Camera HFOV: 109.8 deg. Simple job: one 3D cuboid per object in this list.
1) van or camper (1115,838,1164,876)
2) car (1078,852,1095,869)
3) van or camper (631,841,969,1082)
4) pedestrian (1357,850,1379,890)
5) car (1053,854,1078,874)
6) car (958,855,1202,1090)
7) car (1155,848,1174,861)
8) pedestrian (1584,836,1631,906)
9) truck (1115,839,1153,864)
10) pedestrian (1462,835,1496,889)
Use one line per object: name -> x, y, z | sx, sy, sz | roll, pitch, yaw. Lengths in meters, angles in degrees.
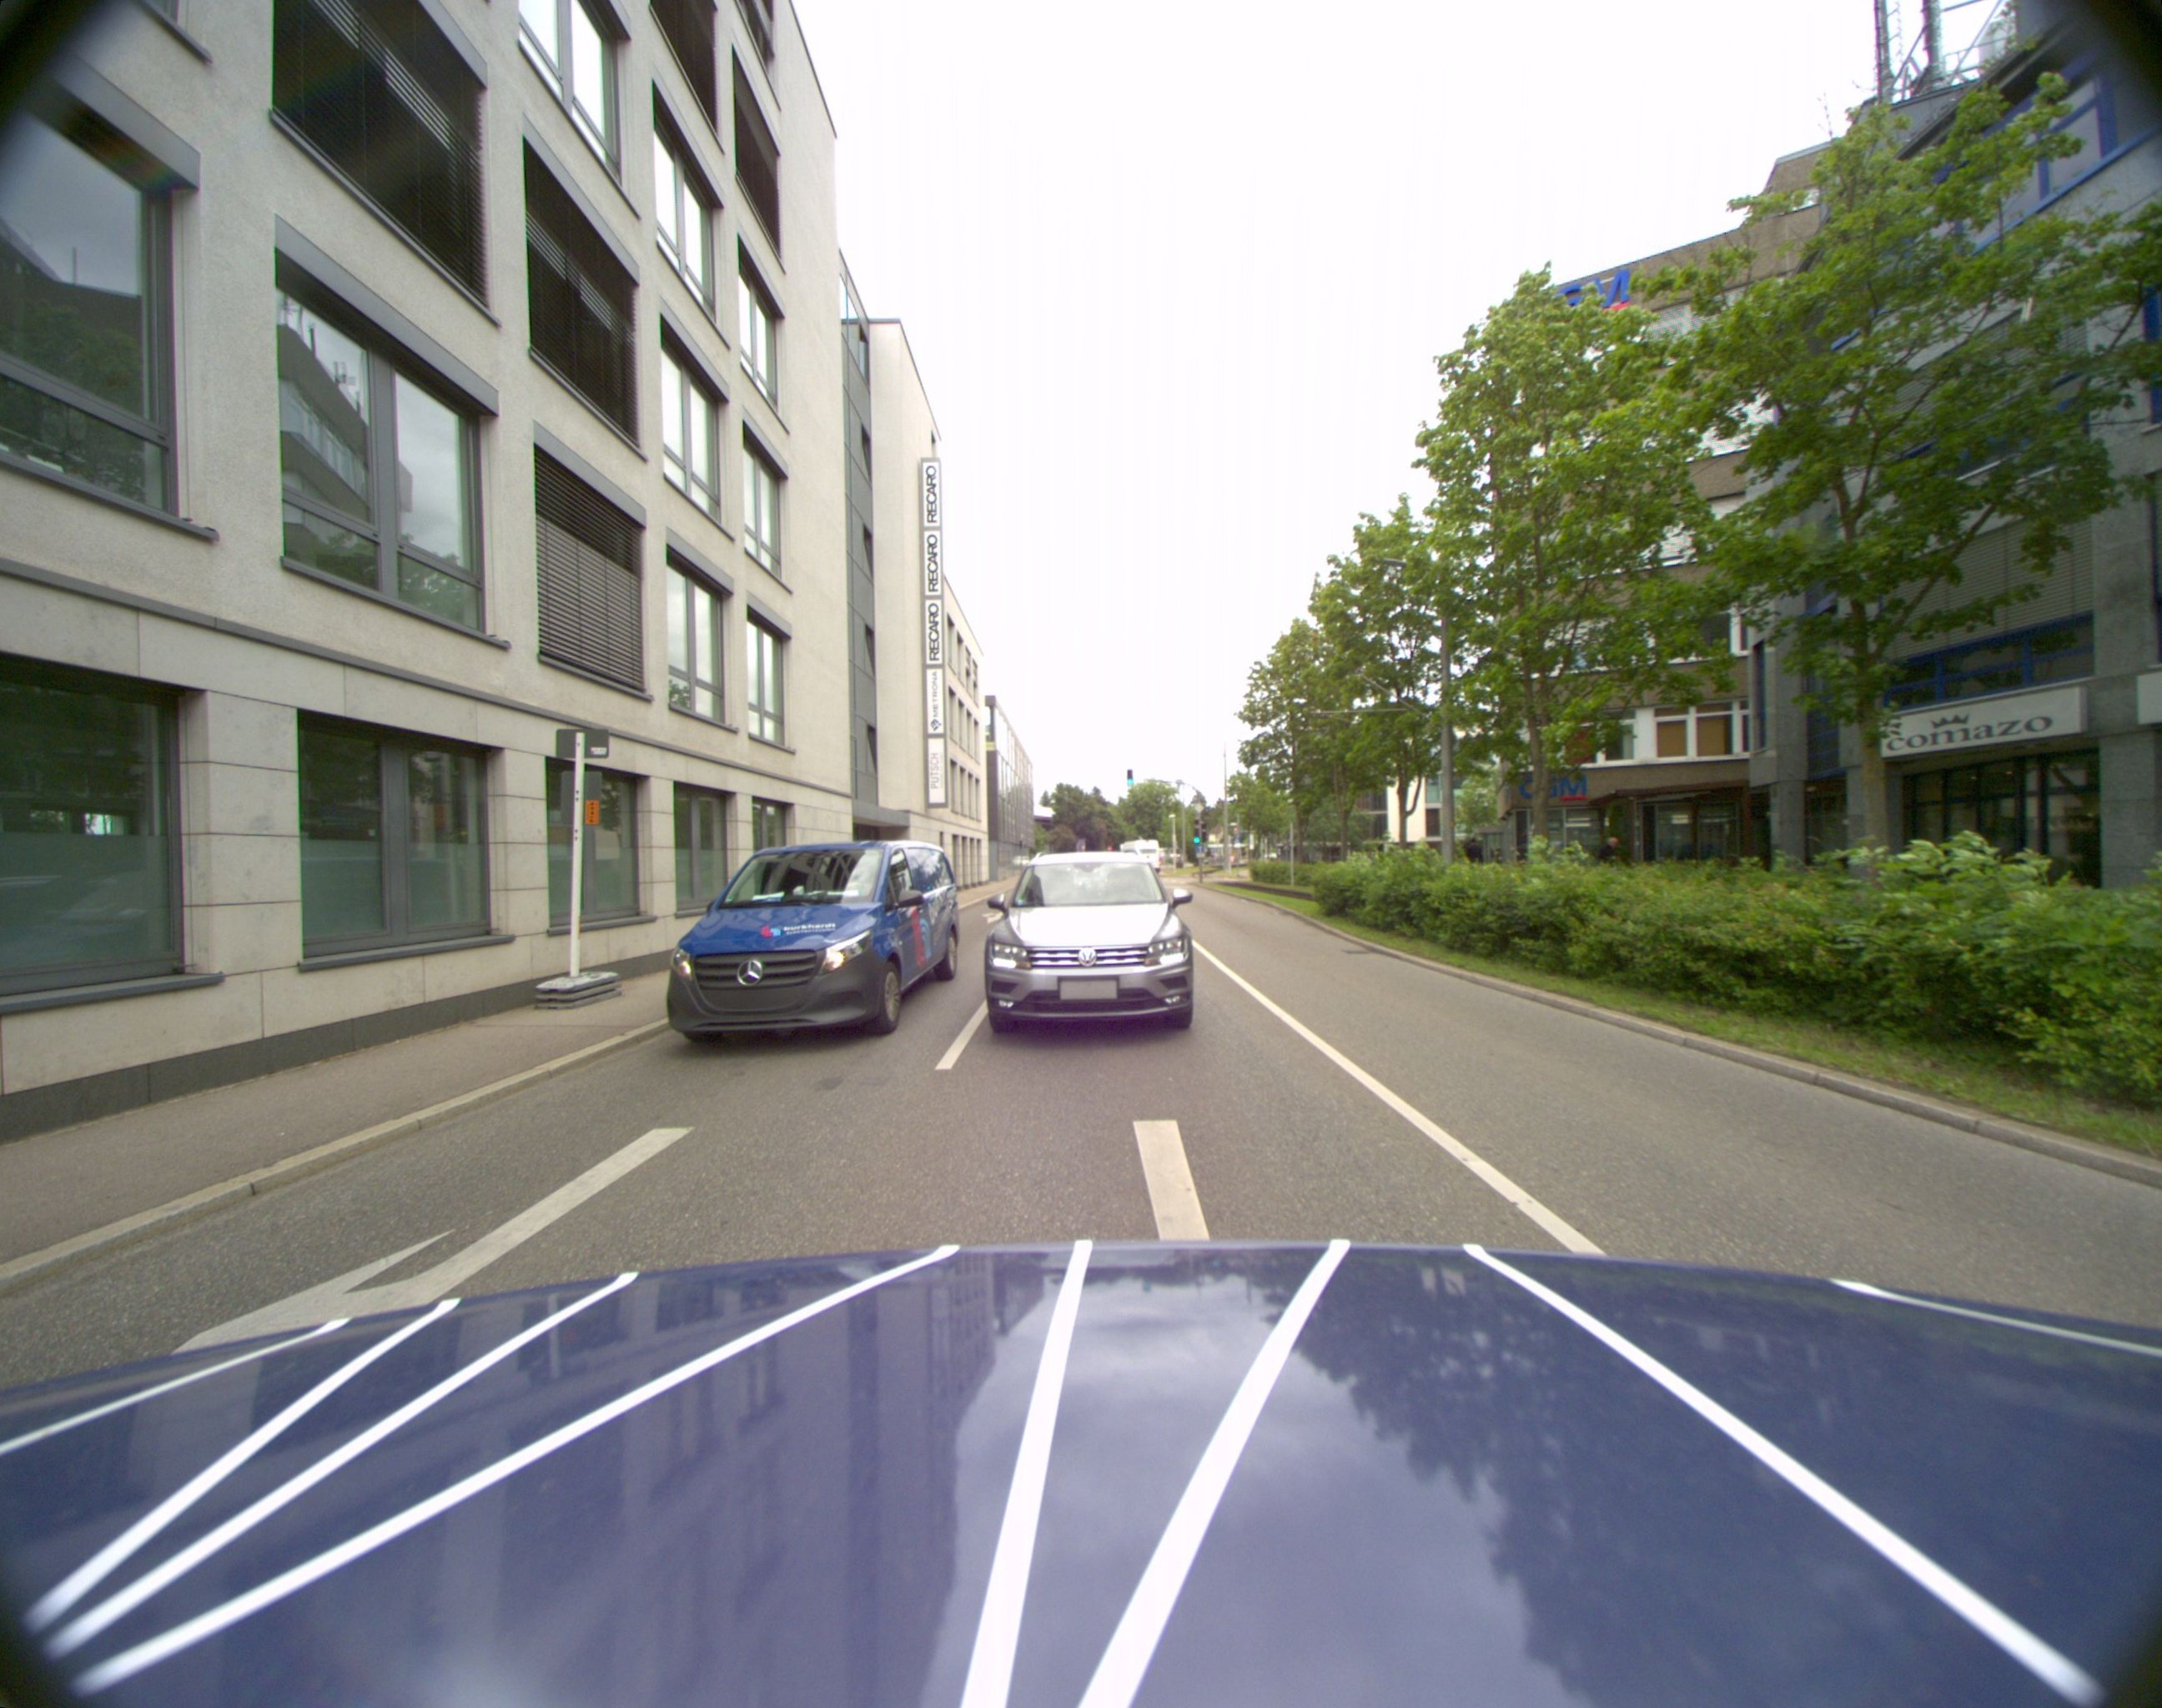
van or camper -> 4.469, 0.227, 59.044 | 2.115, 2.718, 6.145 | -2, 1, -12
car -> 0.737, 0.804, 95.964 | 1.998, 2.002, 4.000 | -2, 1, 1
van or camper -> -2.628, 0.861, 8.623 | 1.864, 1.900, 5.032 | -1, 0, 1
pedestrian -> 13.300, 0.745, 35.178 | 0.680, 1.795, 0.731 | -2, 1, -4
car -> -1.244, 0.801, 62.714 | 1.890, 1.483, 4.000 | -4, 0, 1
car -> 0.027, 0.903, 7.956 | 1.798, 1.716, 4.458 | -1, 0, 1
car -> 14.082, 0.110, 128.273 | 1.995, 2.002, 4.006 | -1, 1, 24
pedestrian -> 14.711, 0.468, 21.243 | 0.776, 1.883, 0.731 | -2, 1, 0
truck -> 8.156, -0.471, 116.843 | 2.317, 3.626, 8.024 | -1, 1, 31
pedestrian -> 14.452, 0.274, 27.635 | 0.816, 1.912, 0.731 | -2, 1, 0
